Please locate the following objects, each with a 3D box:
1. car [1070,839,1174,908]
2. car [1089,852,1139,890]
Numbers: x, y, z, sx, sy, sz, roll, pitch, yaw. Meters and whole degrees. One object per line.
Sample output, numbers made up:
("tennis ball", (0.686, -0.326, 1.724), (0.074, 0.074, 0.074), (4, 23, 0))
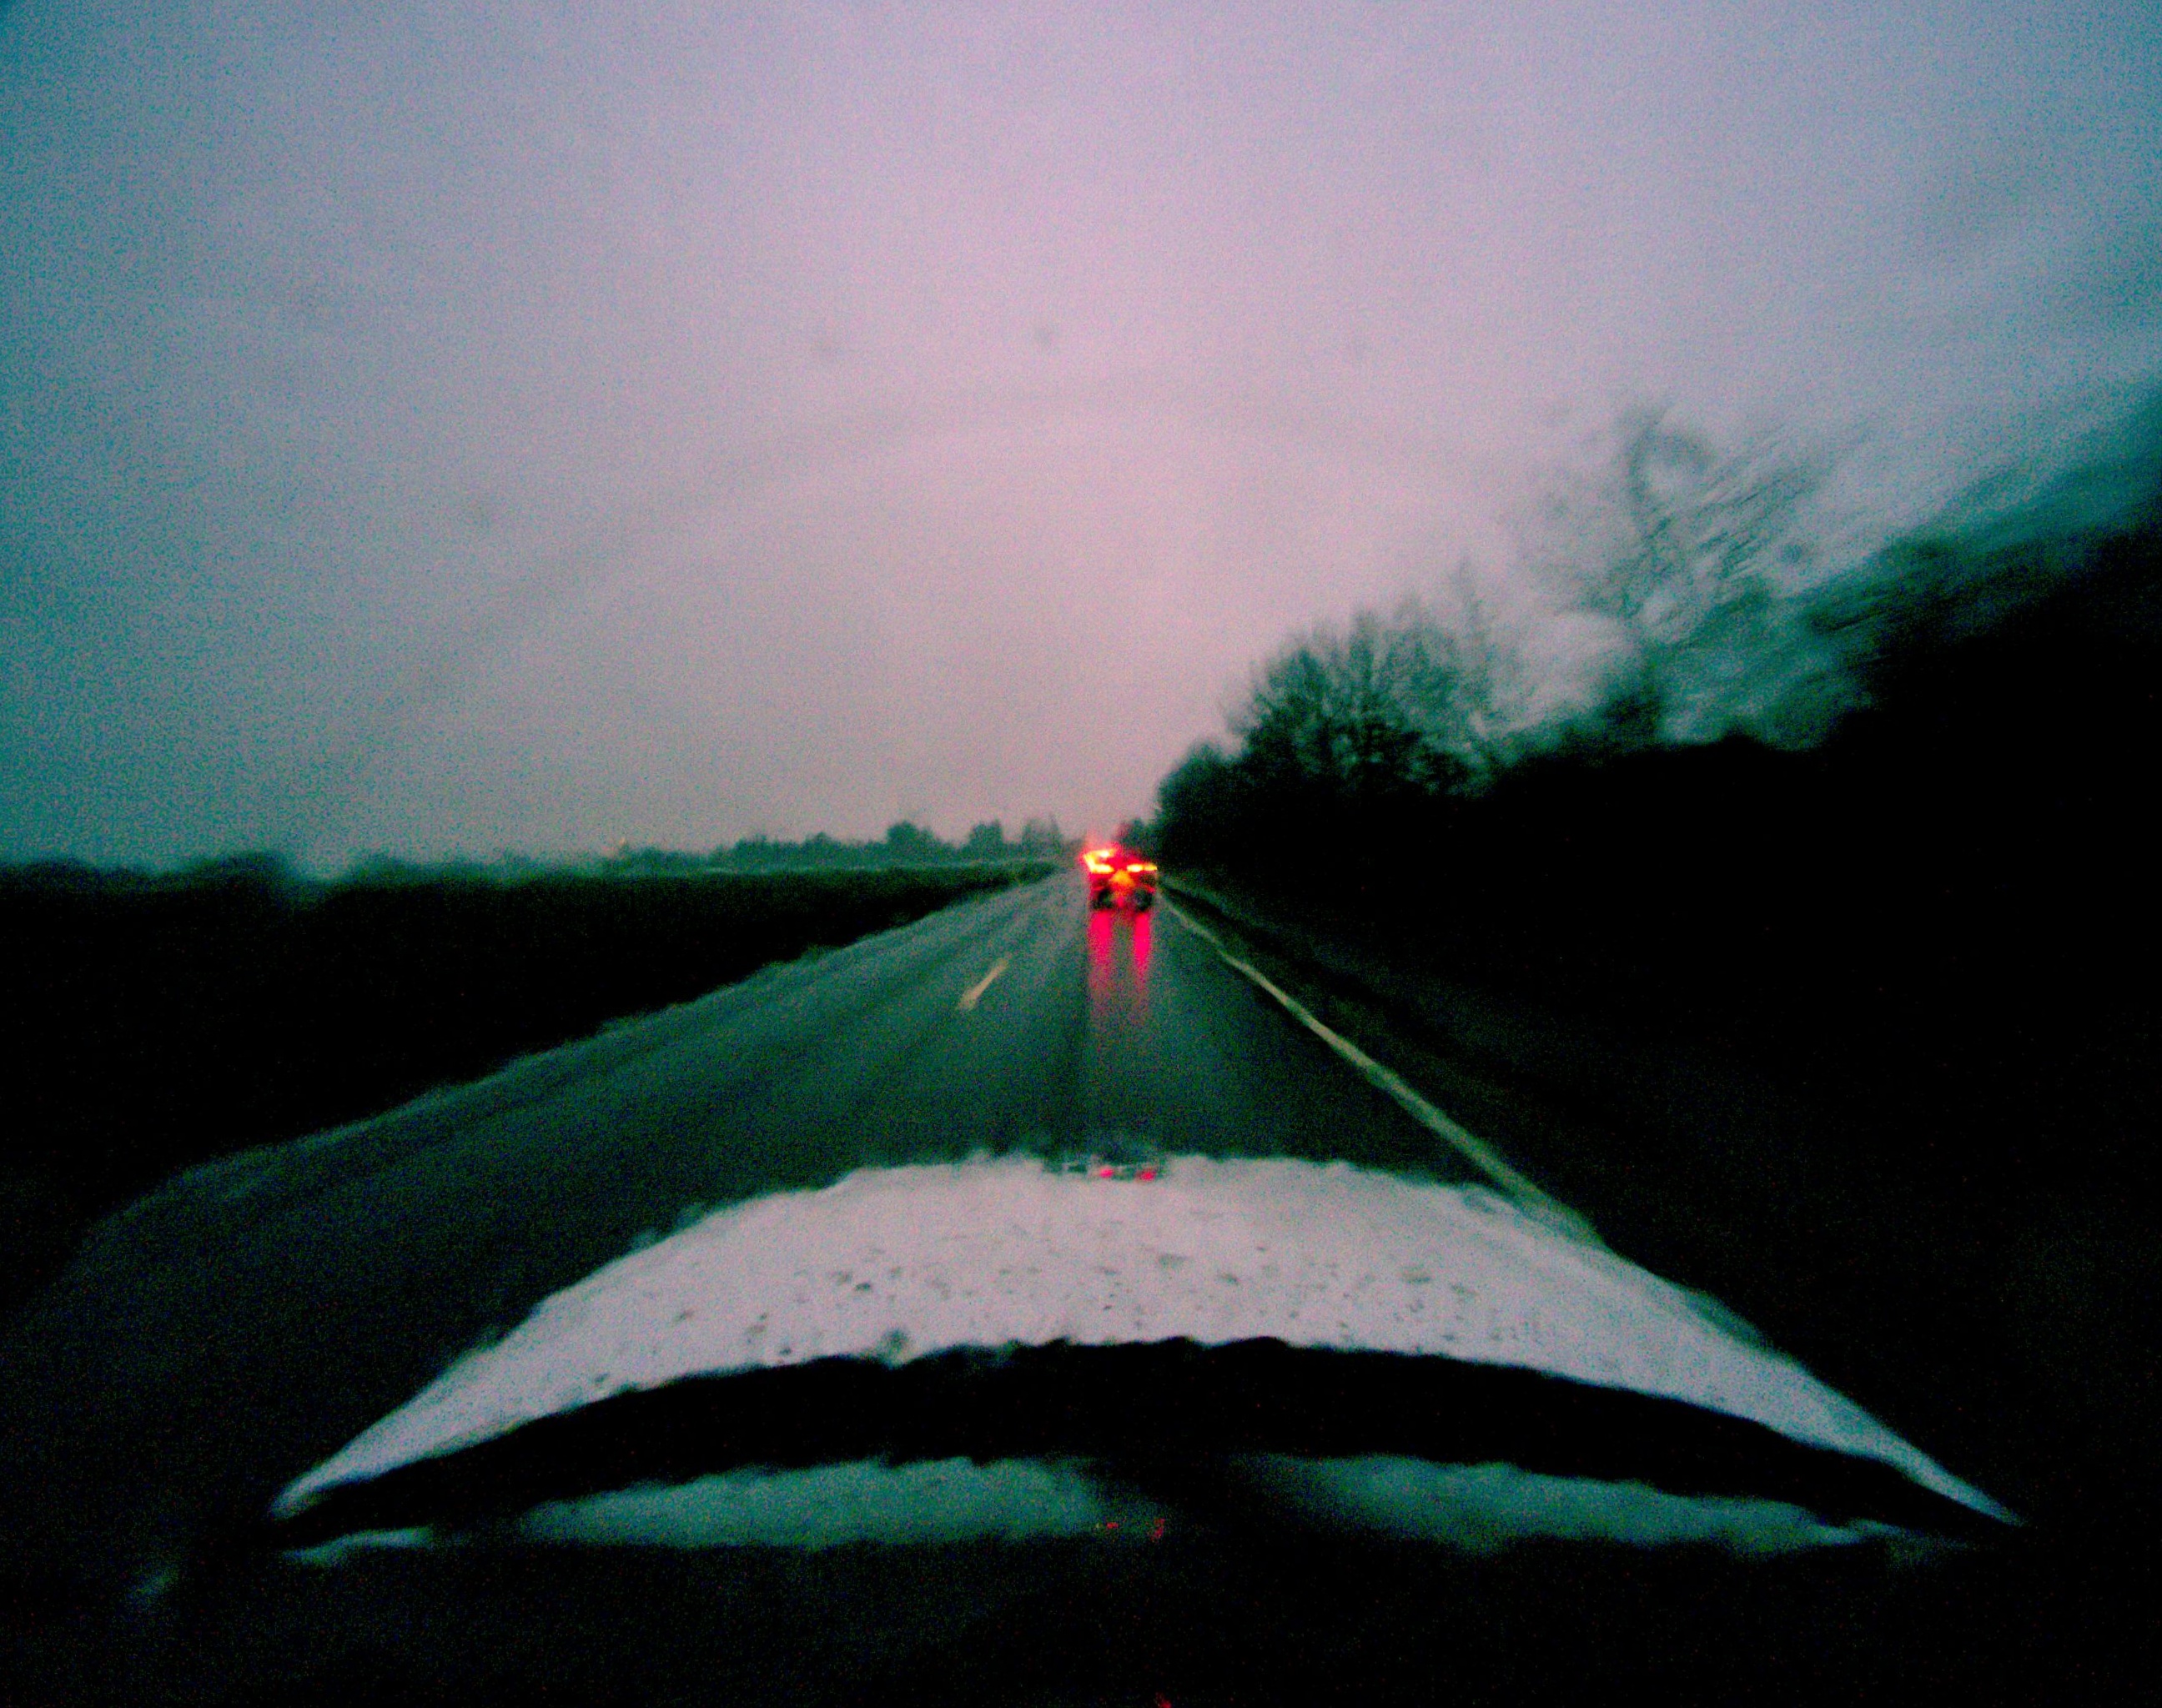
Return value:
("car", (1.399, 0.579, 28.592), (3.152, 2.035, 6.855), (-2, 0, 2))
("car", (1.977, 0.930, 48.669), (2.745, 2.035, 6.594), (-2, 0, 2))
